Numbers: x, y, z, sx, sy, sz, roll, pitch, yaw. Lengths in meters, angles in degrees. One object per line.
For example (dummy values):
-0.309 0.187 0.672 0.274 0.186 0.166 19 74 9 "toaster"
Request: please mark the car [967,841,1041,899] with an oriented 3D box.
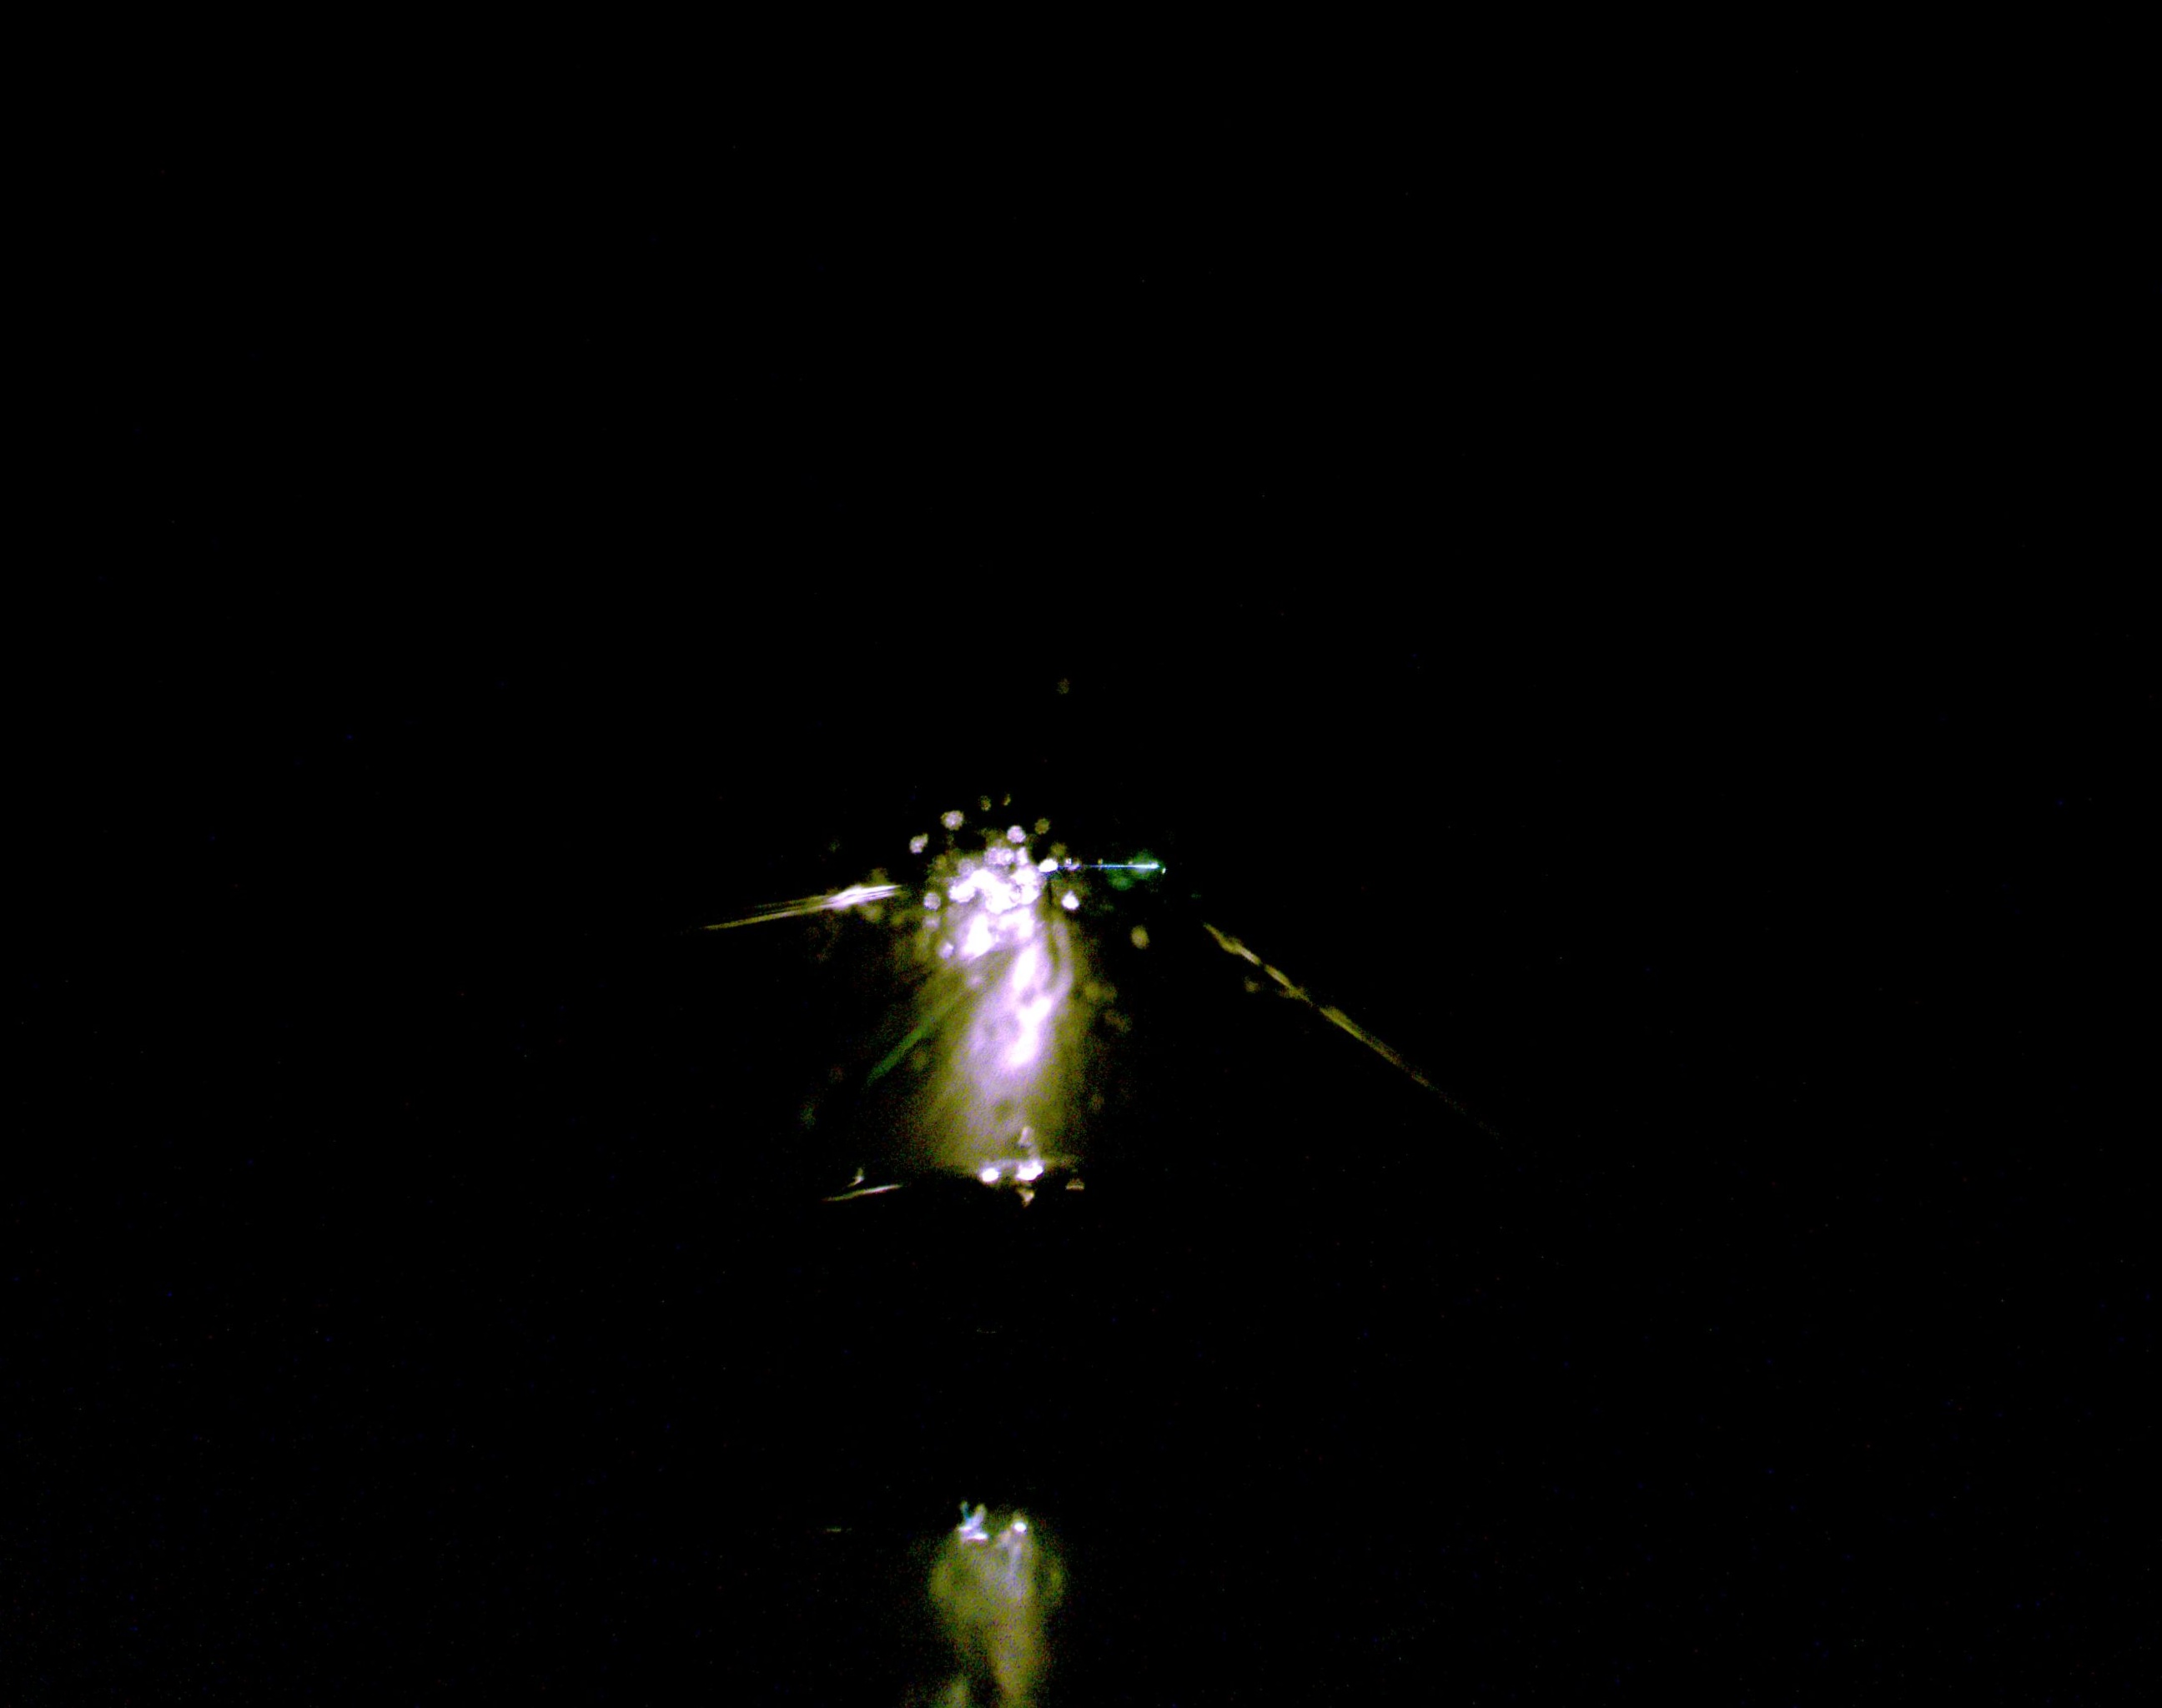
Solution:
-2.586 0.524 28.420 1.986 1.824 4.565 -1 0 2 "car"
